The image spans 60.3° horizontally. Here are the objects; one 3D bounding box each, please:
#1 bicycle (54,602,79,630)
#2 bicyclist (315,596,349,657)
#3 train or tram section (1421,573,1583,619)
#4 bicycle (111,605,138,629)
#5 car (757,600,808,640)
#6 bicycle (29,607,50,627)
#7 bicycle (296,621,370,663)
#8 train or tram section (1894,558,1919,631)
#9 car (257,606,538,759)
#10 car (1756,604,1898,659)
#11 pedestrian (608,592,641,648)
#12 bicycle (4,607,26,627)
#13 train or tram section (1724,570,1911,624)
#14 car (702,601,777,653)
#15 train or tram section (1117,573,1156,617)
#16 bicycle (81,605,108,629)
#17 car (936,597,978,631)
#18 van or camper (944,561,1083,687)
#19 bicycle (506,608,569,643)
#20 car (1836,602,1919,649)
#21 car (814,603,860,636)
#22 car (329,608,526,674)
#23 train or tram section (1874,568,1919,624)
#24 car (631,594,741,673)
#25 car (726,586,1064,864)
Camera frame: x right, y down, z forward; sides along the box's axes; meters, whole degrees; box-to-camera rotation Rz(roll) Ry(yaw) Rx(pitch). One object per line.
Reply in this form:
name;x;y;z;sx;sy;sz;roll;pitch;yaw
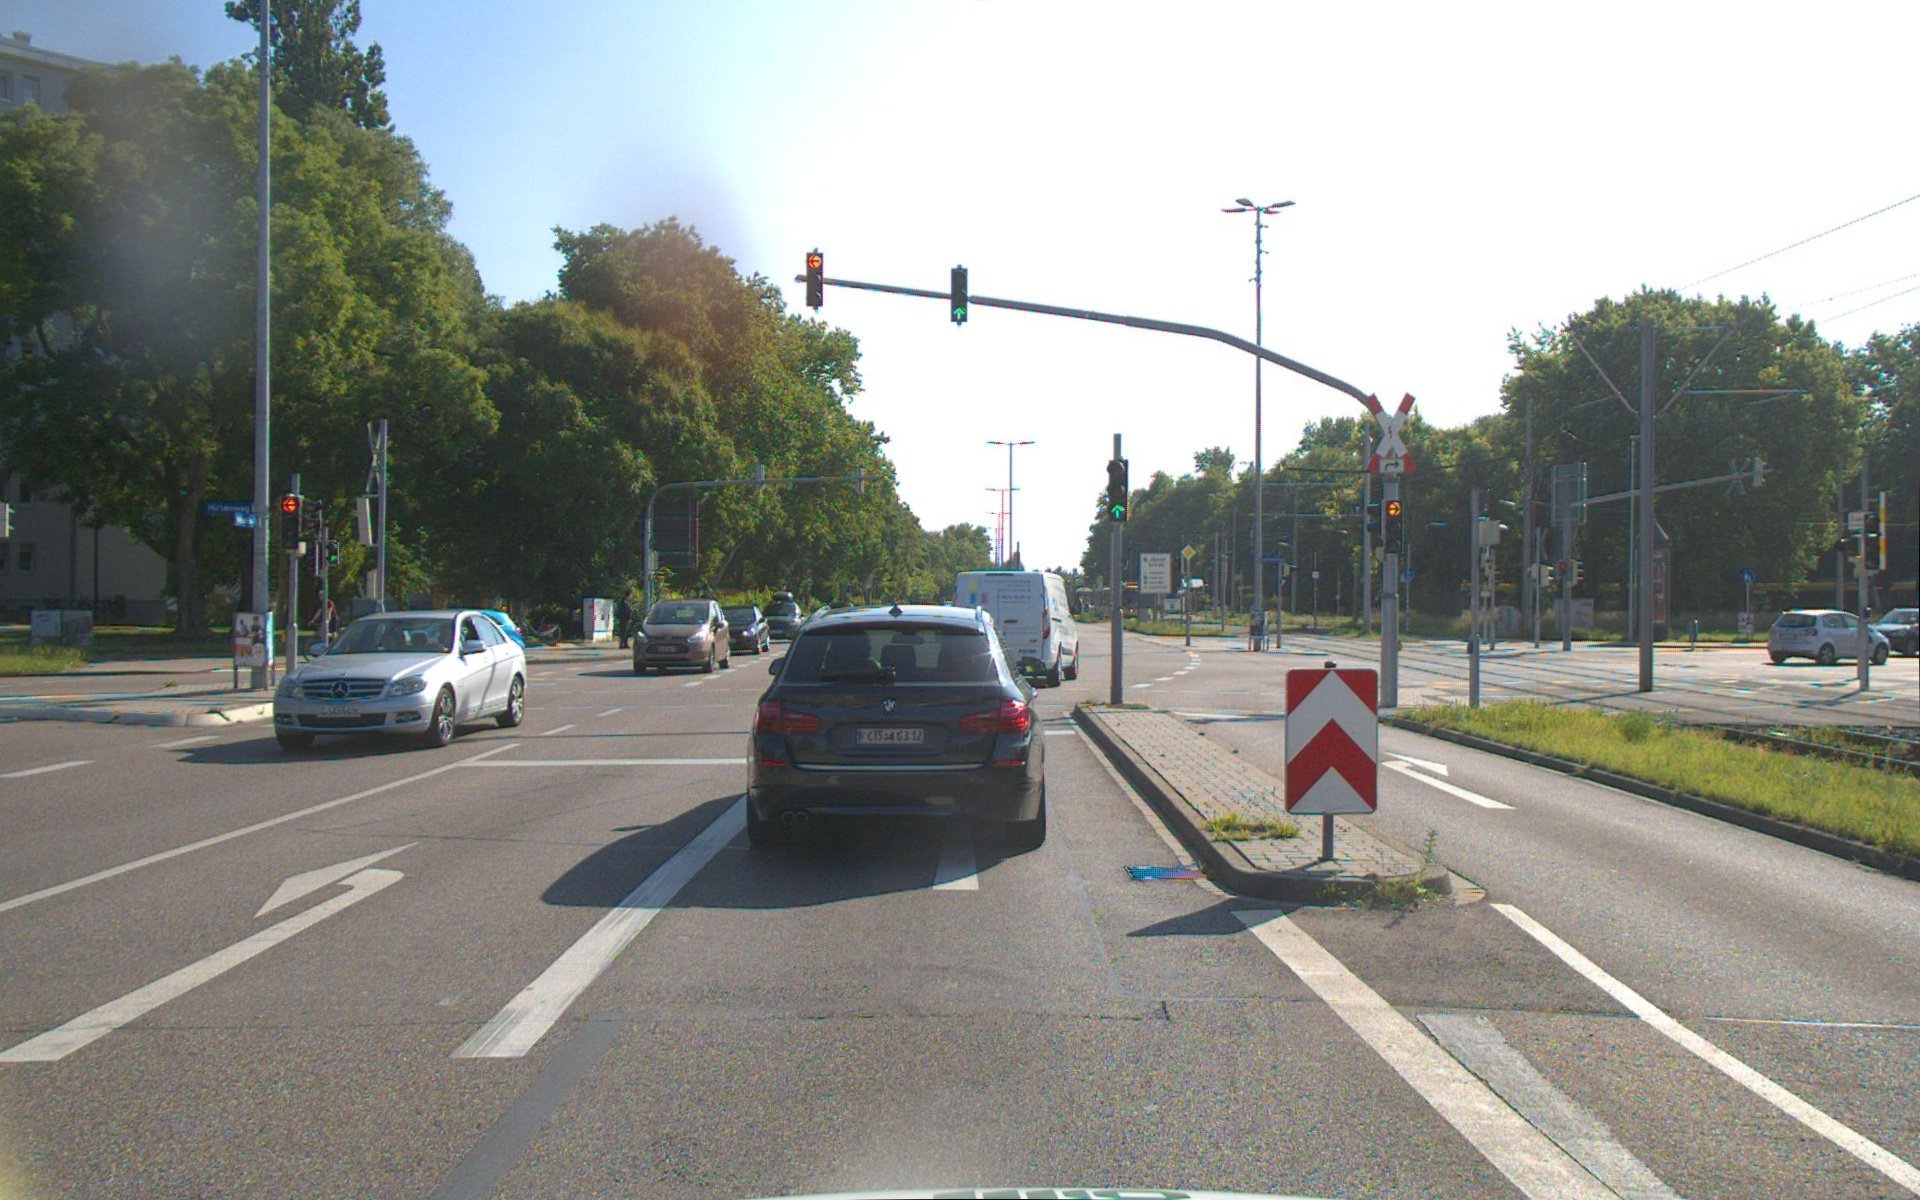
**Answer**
bicycle;-34.836;0.628;64.462;0.606;1.085;1.892;1;-2;-36
bicyclist;-16.651;0.698;43.836;0.595;1.588;0.602;0;0;23
train or tram section;43.909;-0.309;134.285;12.171;3.642;3.047;0;0;31
bicycle;-33.268;0.661;65.823;0.662;0.936;2.377;0;0;-35
car;-7.036;0.767;65.909;1.753;1.547;3.998;-1;0;-2
bicycle;-35.683;0.659;64.117;0.501;0.721;2.090;0;0;-35
bicycle;-16.623;1.089;43.903;0.607;1.058;2.071;0;0;22
train or tram section;53.061;-0.267;86.372;11.720;3.642;3.015;0;0;-36
car;-6.260;0.845;18.968;1.667;1.491;4.369;-1;0;0
car;26.143;0.932;49.880;4.143;1.590;1.839;0;0;-29
pedestrian;-10.835;0.649;53.471;0.798;1.782;0.932;0;0;5
bicycle;-36.405;0.646;63.714;0.578;0.721;2.211;0;0;-35
train or tram section;61.271;-0.214;118.635;3.017;3.642;12.088;0;0;-33
car;-6.656;0.797;50.285;1.851;1.500;4.098;-1;0;-2
train or tram section;15.811;-0.386;148.874;2.738;3.682;12.960;1;-1;3
bicycle;-34.138;0.658;65.202;0.668;0.891;2.455;0;0;-35
car;-0.108;0.626;75.896;1.791;1.456;4.732;-1;0;1
van or camper;1.069;0.410;30.475;1.951;2.133;4.602;0;0;10
bicycle;-13.639;0.816;53.391;1.870;1.138;0.632;0;0;-1
car;33.014;0.875;57.768;4.792;1.590;2.025;0;0;-29
car;-6.711;1.048;90.644;1.947;1.688;4.386;-1;0;3
car;-12.485;0.925;39.000;1.750;1.439;4.228;0;0;36
train or tram section;64.057;-0.256;107.227;2.981;3.642;12.231;0;0;1
car;-6.003;0.700;36.605;1.709;1.589;4.000;-2;0;0
car;-0.357;0.691;11.162;1.864;1.532;4.065;0;0;0
